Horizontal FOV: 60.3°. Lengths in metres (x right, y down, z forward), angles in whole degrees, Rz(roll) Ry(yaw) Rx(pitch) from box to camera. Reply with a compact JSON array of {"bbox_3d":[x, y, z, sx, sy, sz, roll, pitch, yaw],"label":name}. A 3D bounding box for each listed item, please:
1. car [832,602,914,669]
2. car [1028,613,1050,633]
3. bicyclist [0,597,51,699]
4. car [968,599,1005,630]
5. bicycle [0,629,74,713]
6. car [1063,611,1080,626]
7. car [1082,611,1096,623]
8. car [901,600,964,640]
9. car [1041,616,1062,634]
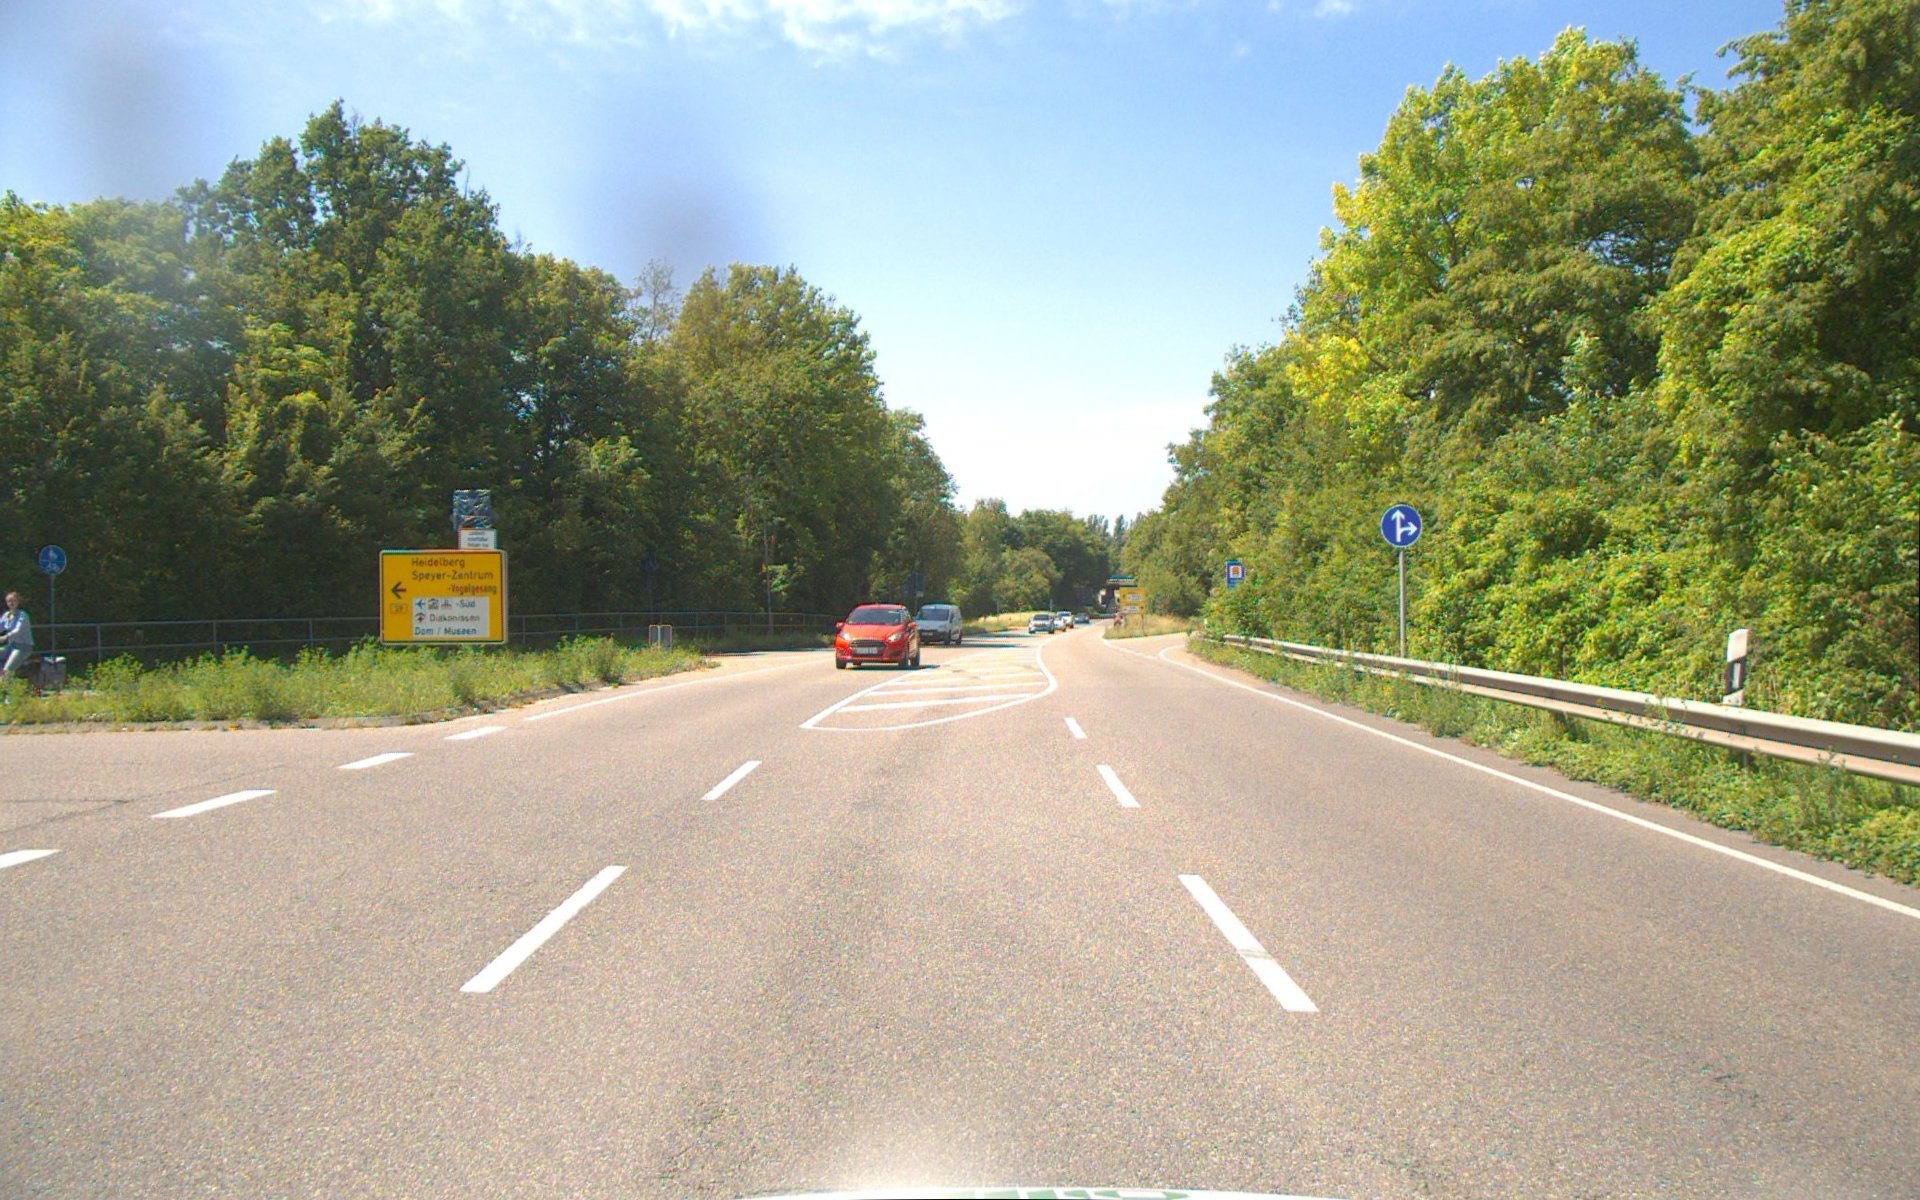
[{"bbox_3d":[-1.990,0.788,38.878,1.773,1.483,3.757,0,0,-1],"label":"car"},{"bbox_3d":[6.588,1.916,137.996,1.642,1.554,4.002,0,0,5],"label":"car"},{"bbox_3d":[-13.105,0.659,22.969,0.675,1.387,0.607,-1,-1,34],"label":"bicyclist"},{"bbox_3d":[2.858,1.525,178.570,1.971,3.282,4.763,0,0,-29],"label":"car"},{"bbox_3d":[-13.135,0.976,22.921,0.427,1.133,1.477,-1,-1,33],"label":"bicycle"},{"bbox_3d":[12.042,1.951,177.831,1.683,1.555,3.712,0,0,6],"label":"car"},{"bbox_3d":[16.788,2.208,215.340,1.683,1.535,3.712,0,0,7],"label":"car"},{"bbox_3d":[-1.199,0.886,75.120,1.951,1.760,4.278,-1,0,12],"label":"car"},{"bbox_3d":[8.525,2.322,153.350,1.641,1.554,4.003,0,0,7],"label":"car"}]
